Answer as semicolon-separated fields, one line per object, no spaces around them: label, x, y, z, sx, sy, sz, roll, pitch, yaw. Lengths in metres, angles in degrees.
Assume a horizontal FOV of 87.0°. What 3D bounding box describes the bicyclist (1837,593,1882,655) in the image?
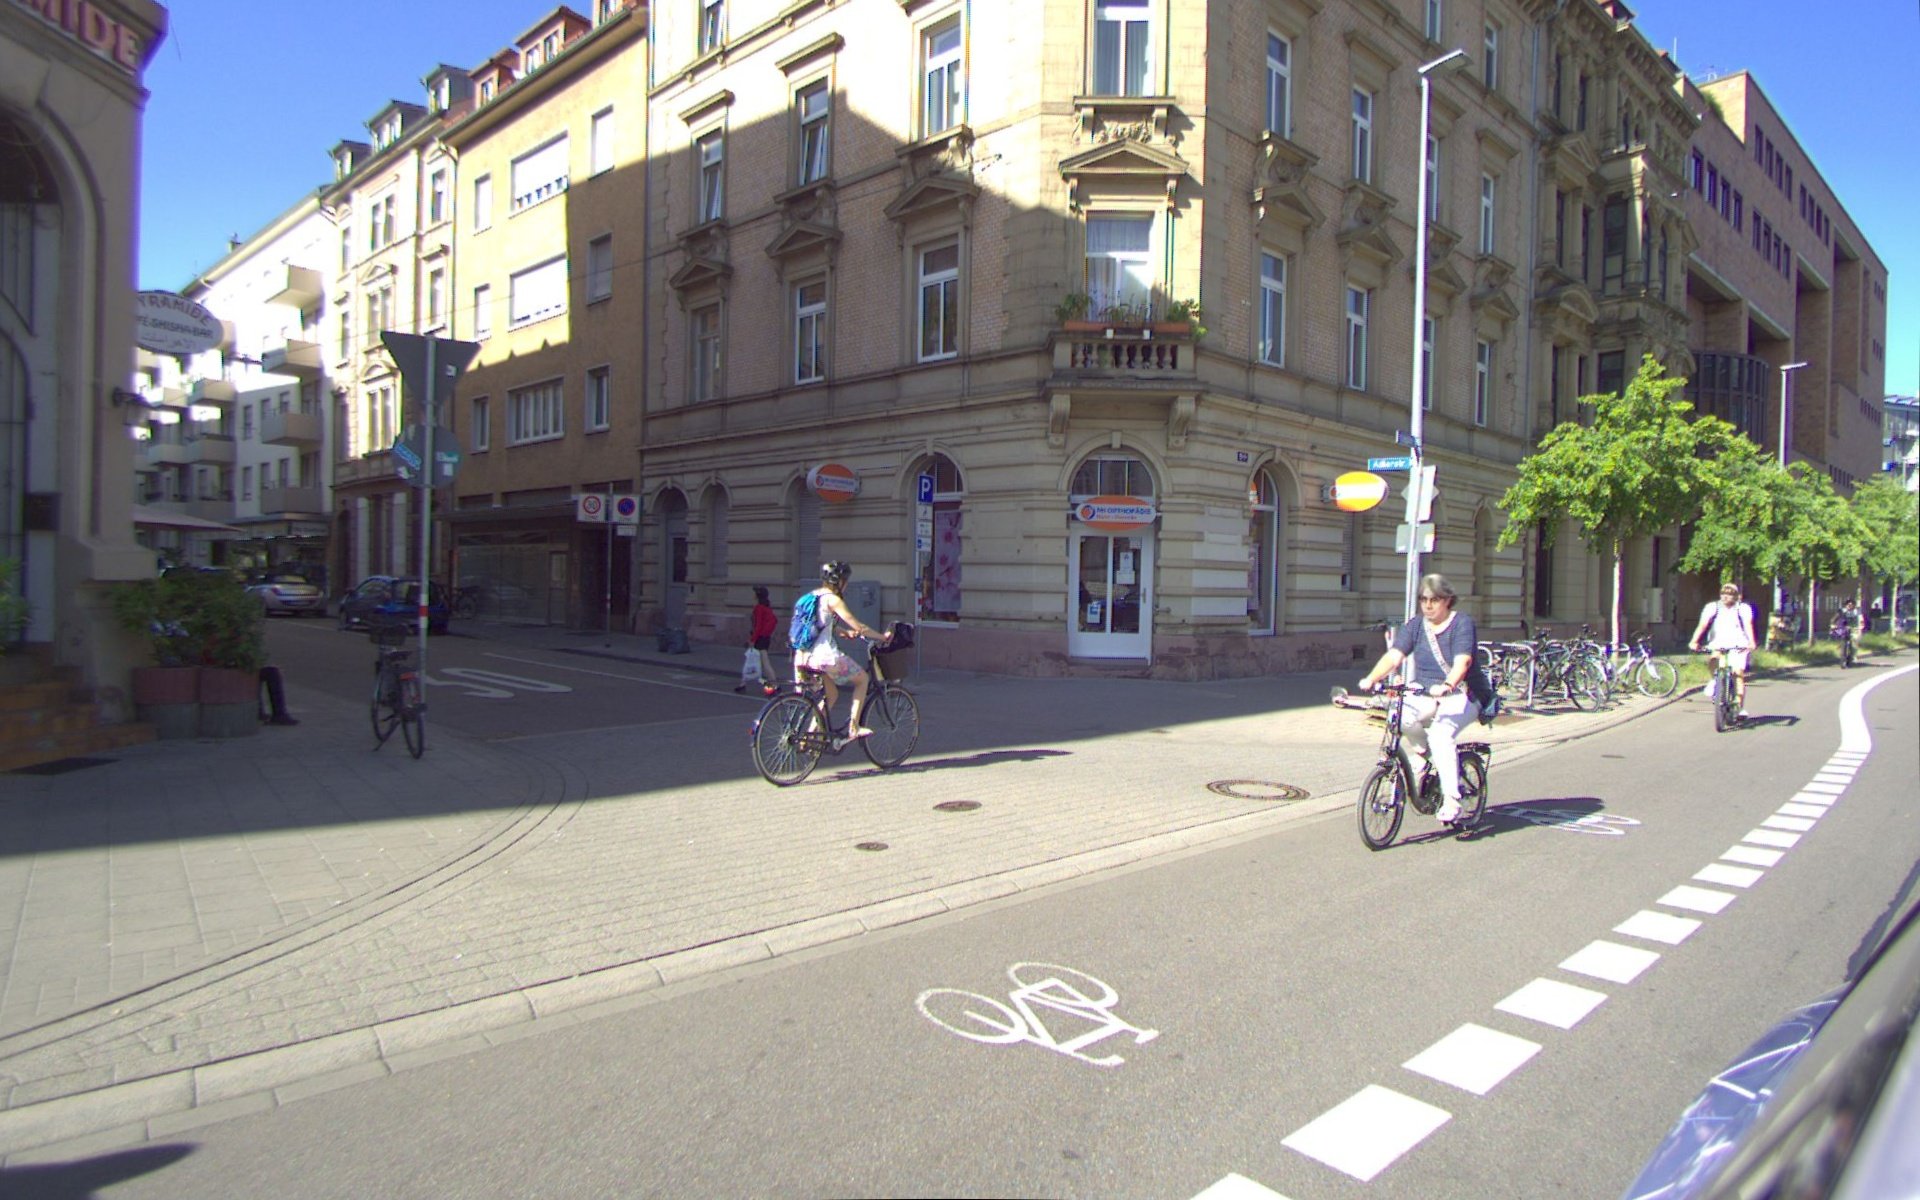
bicyclist;23.996;0.630;27.008;0.748;1.637;0.755;0;-1;-38

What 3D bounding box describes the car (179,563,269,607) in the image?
car;-26.036;-0.544;35.768;3.757;1.450;1.776;2;1;40

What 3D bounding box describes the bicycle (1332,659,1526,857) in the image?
bicycle;2.990;0.927;6.399;1.481;1.040;0.558;0;-1;-41

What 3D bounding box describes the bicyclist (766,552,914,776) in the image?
bicyclist;-0.956;0.468;8.084;0.944;1.659;0.667;1;1;-41

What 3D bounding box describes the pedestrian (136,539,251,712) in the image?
pedestrian;-8.369;0.254;11.052;0.906;1.783;0.854;0;0;43

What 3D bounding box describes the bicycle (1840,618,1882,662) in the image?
bicycle;23.941;1.043;26.889;1.480;1.110;0.578;0;-1;-38

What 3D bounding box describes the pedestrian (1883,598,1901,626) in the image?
pedestrian;51.192;0.658;55.598;0.723;1.505;0.633;0;1;-41

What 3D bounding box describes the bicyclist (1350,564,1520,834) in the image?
bicyclist;3.009;0.575;6.401;0.893;1.557;0.658;1;-1;-41

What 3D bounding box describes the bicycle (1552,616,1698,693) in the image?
bicycle;11.509;0.909;17.554;1.993;1.106;0.835;5;3;40

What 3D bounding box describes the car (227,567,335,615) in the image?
car;-21.354;-0.286;31.775;3.983;1.351;1.775;2;-1;40

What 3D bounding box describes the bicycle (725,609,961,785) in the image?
bicycle;-0.892;0.707;8.106;1.867;1.238;0.584;0;1;-42

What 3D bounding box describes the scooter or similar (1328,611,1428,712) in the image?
scooter or similar;5.380;0.766;13.065;0.411;1.204;1.115;1;1;-33

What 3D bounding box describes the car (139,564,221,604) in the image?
car;-30.111;-0.645;39.056;3.757;1.450;1.776;2;1;40

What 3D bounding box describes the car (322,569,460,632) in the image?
car;-14.616;-0.001;25.928;3.983;1.438;1.775;2;-1;40

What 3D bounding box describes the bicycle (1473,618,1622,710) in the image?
bicycle;8.517;0.894;14.749;0.595;1.114;1.729;1;3;-37

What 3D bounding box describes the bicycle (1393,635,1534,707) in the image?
bicycle;7.050;0.966;14.242;0.595;0.831;1.677;1;2;-33

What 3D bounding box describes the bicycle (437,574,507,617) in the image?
bicycle;-14.397;-0.139;29.835;1.988;1.193;0.629;1;1;19

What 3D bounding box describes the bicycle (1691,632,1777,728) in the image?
bicycle;9.794;0.976;12.788;1.481;1.110;0.577;0;-1;-41

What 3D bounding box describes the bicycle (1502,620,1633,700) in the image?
bicycle;9.526;0.919;15.924;0.595;1.058;1.605;1;3;-37

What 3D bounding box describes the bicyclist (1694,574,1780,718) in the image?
bicyclist;9.847;0.558;12.827;0.893;1.751;0.684;1;-1;-41

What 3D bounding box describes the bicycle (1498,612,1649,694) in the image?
bicycle;10.284;0.858;17.029;0.697;1.142;2.001;1;3;-39

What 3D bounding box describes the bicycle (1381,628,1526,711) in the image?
bicycle;6.646;0.905;13.705;0.595;0.955;1.677;1;1;-33

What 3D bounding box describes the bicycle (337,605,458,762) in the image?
bicycle;-5.026;0.687;8.978;0.641;1.186;1.823;5;-1;-36

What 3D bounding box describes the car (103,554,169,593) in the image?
car;-37.558;-1.206;46.115;3.758;1.686;1.775;2;1;42

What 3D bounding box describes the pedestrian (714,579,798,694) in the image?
pedestrian;-2.882;0.492;14.343;0.916;1.561;0.707;1;1;21

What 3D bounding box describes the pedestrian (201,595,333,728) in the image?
pedestrian;-6.862;0.572;10.024;0.849;1.229;0.920;0;0;43

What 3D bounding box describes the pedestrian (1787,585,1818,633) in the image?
pedestrian;34.202;0.360;41.088;1.087;1.906;0.789;0;1;-41
